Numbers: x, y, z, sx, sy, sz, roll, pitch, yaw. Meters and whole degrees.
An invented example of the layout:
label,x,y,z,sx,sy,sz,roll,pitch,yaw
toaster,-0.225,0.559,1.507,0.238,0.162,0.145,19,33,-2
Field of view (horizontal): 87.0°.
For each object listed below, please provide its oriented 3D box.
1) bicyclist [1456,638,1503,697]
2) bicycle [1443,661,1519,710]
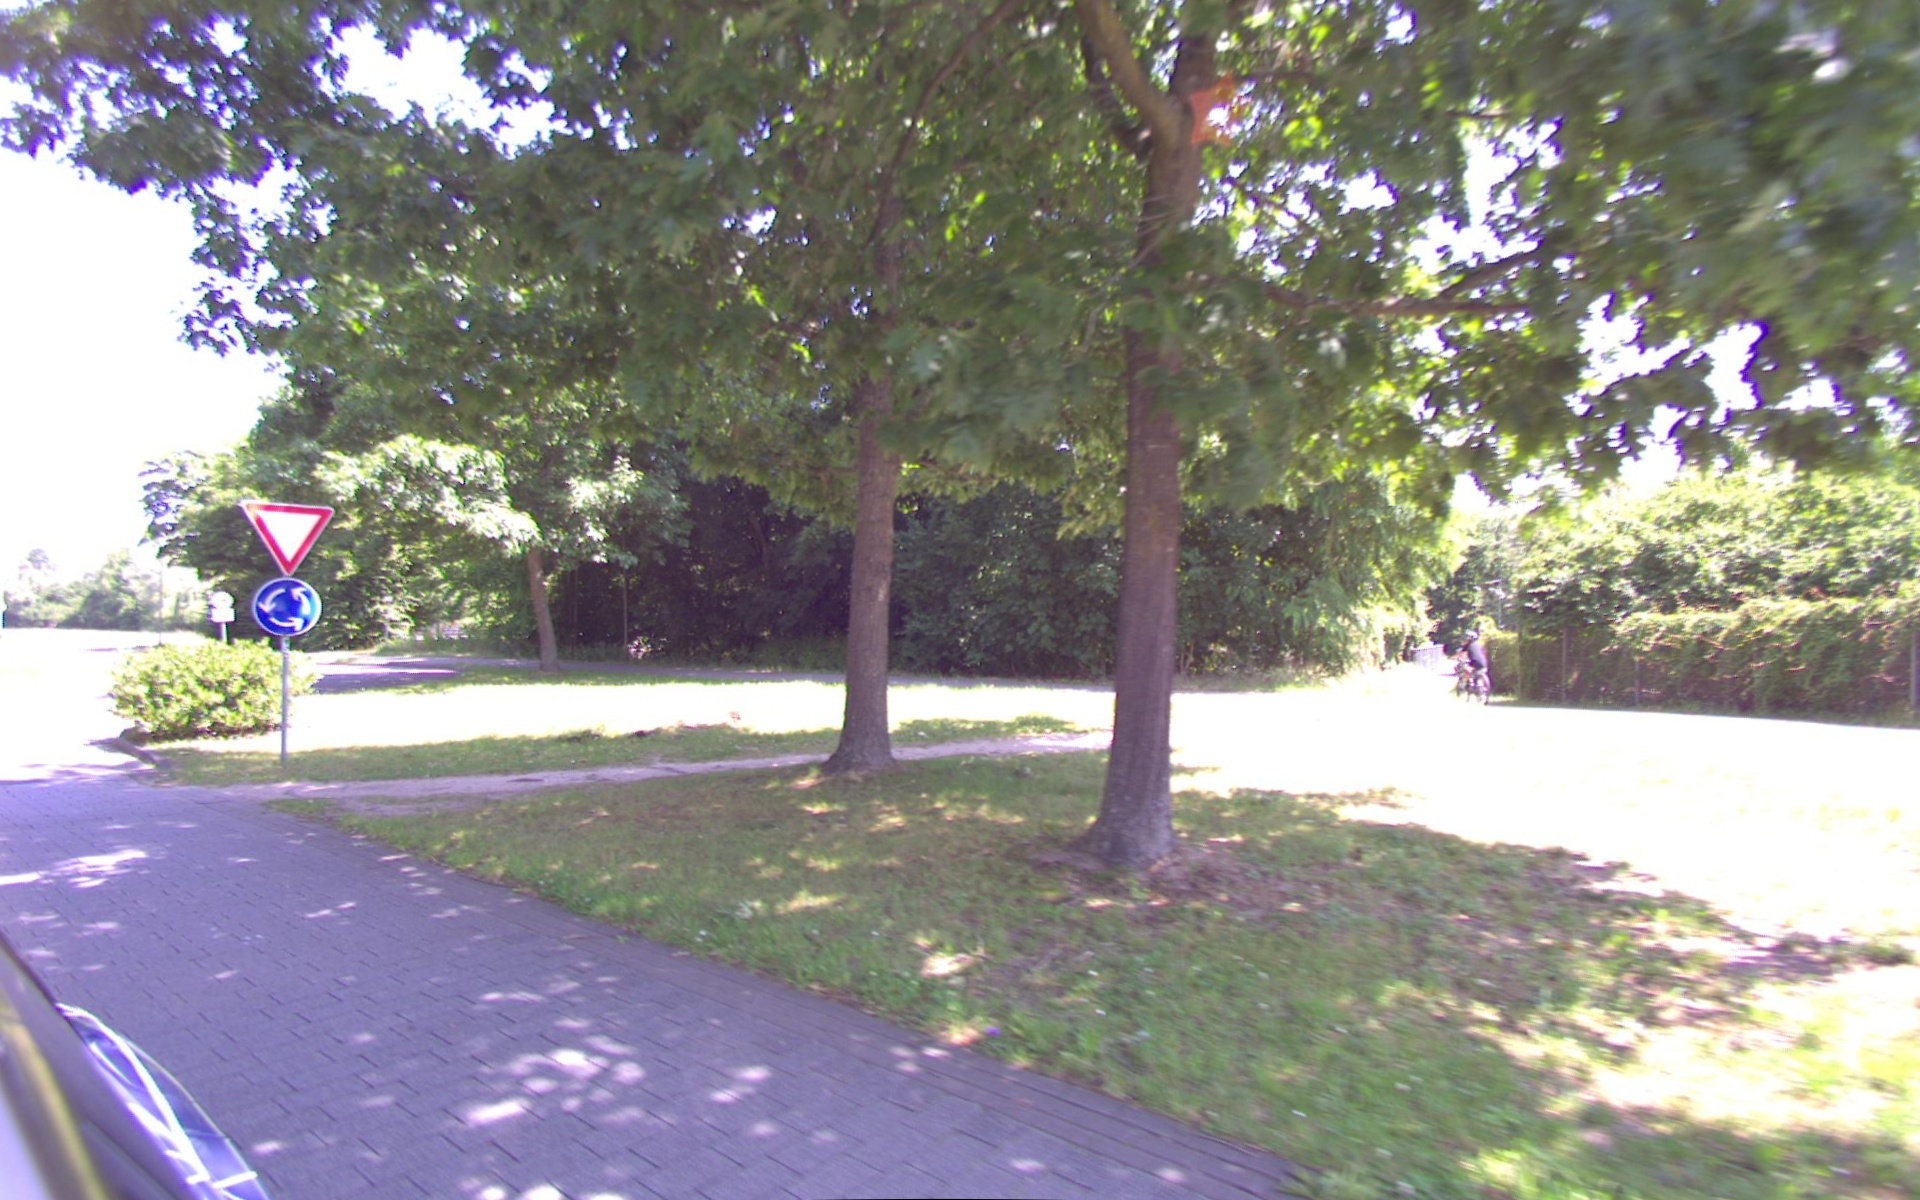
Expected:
label,x,y,z,sx,sy,sz,roll,pitch,yaw
bicyclist,10.717,1.382,20.897,0.590,1.173,0.649,0,-2,-5
bicycle,10.717,1.741,20.871,0.590,0.936,1.622,0,-2,-5
